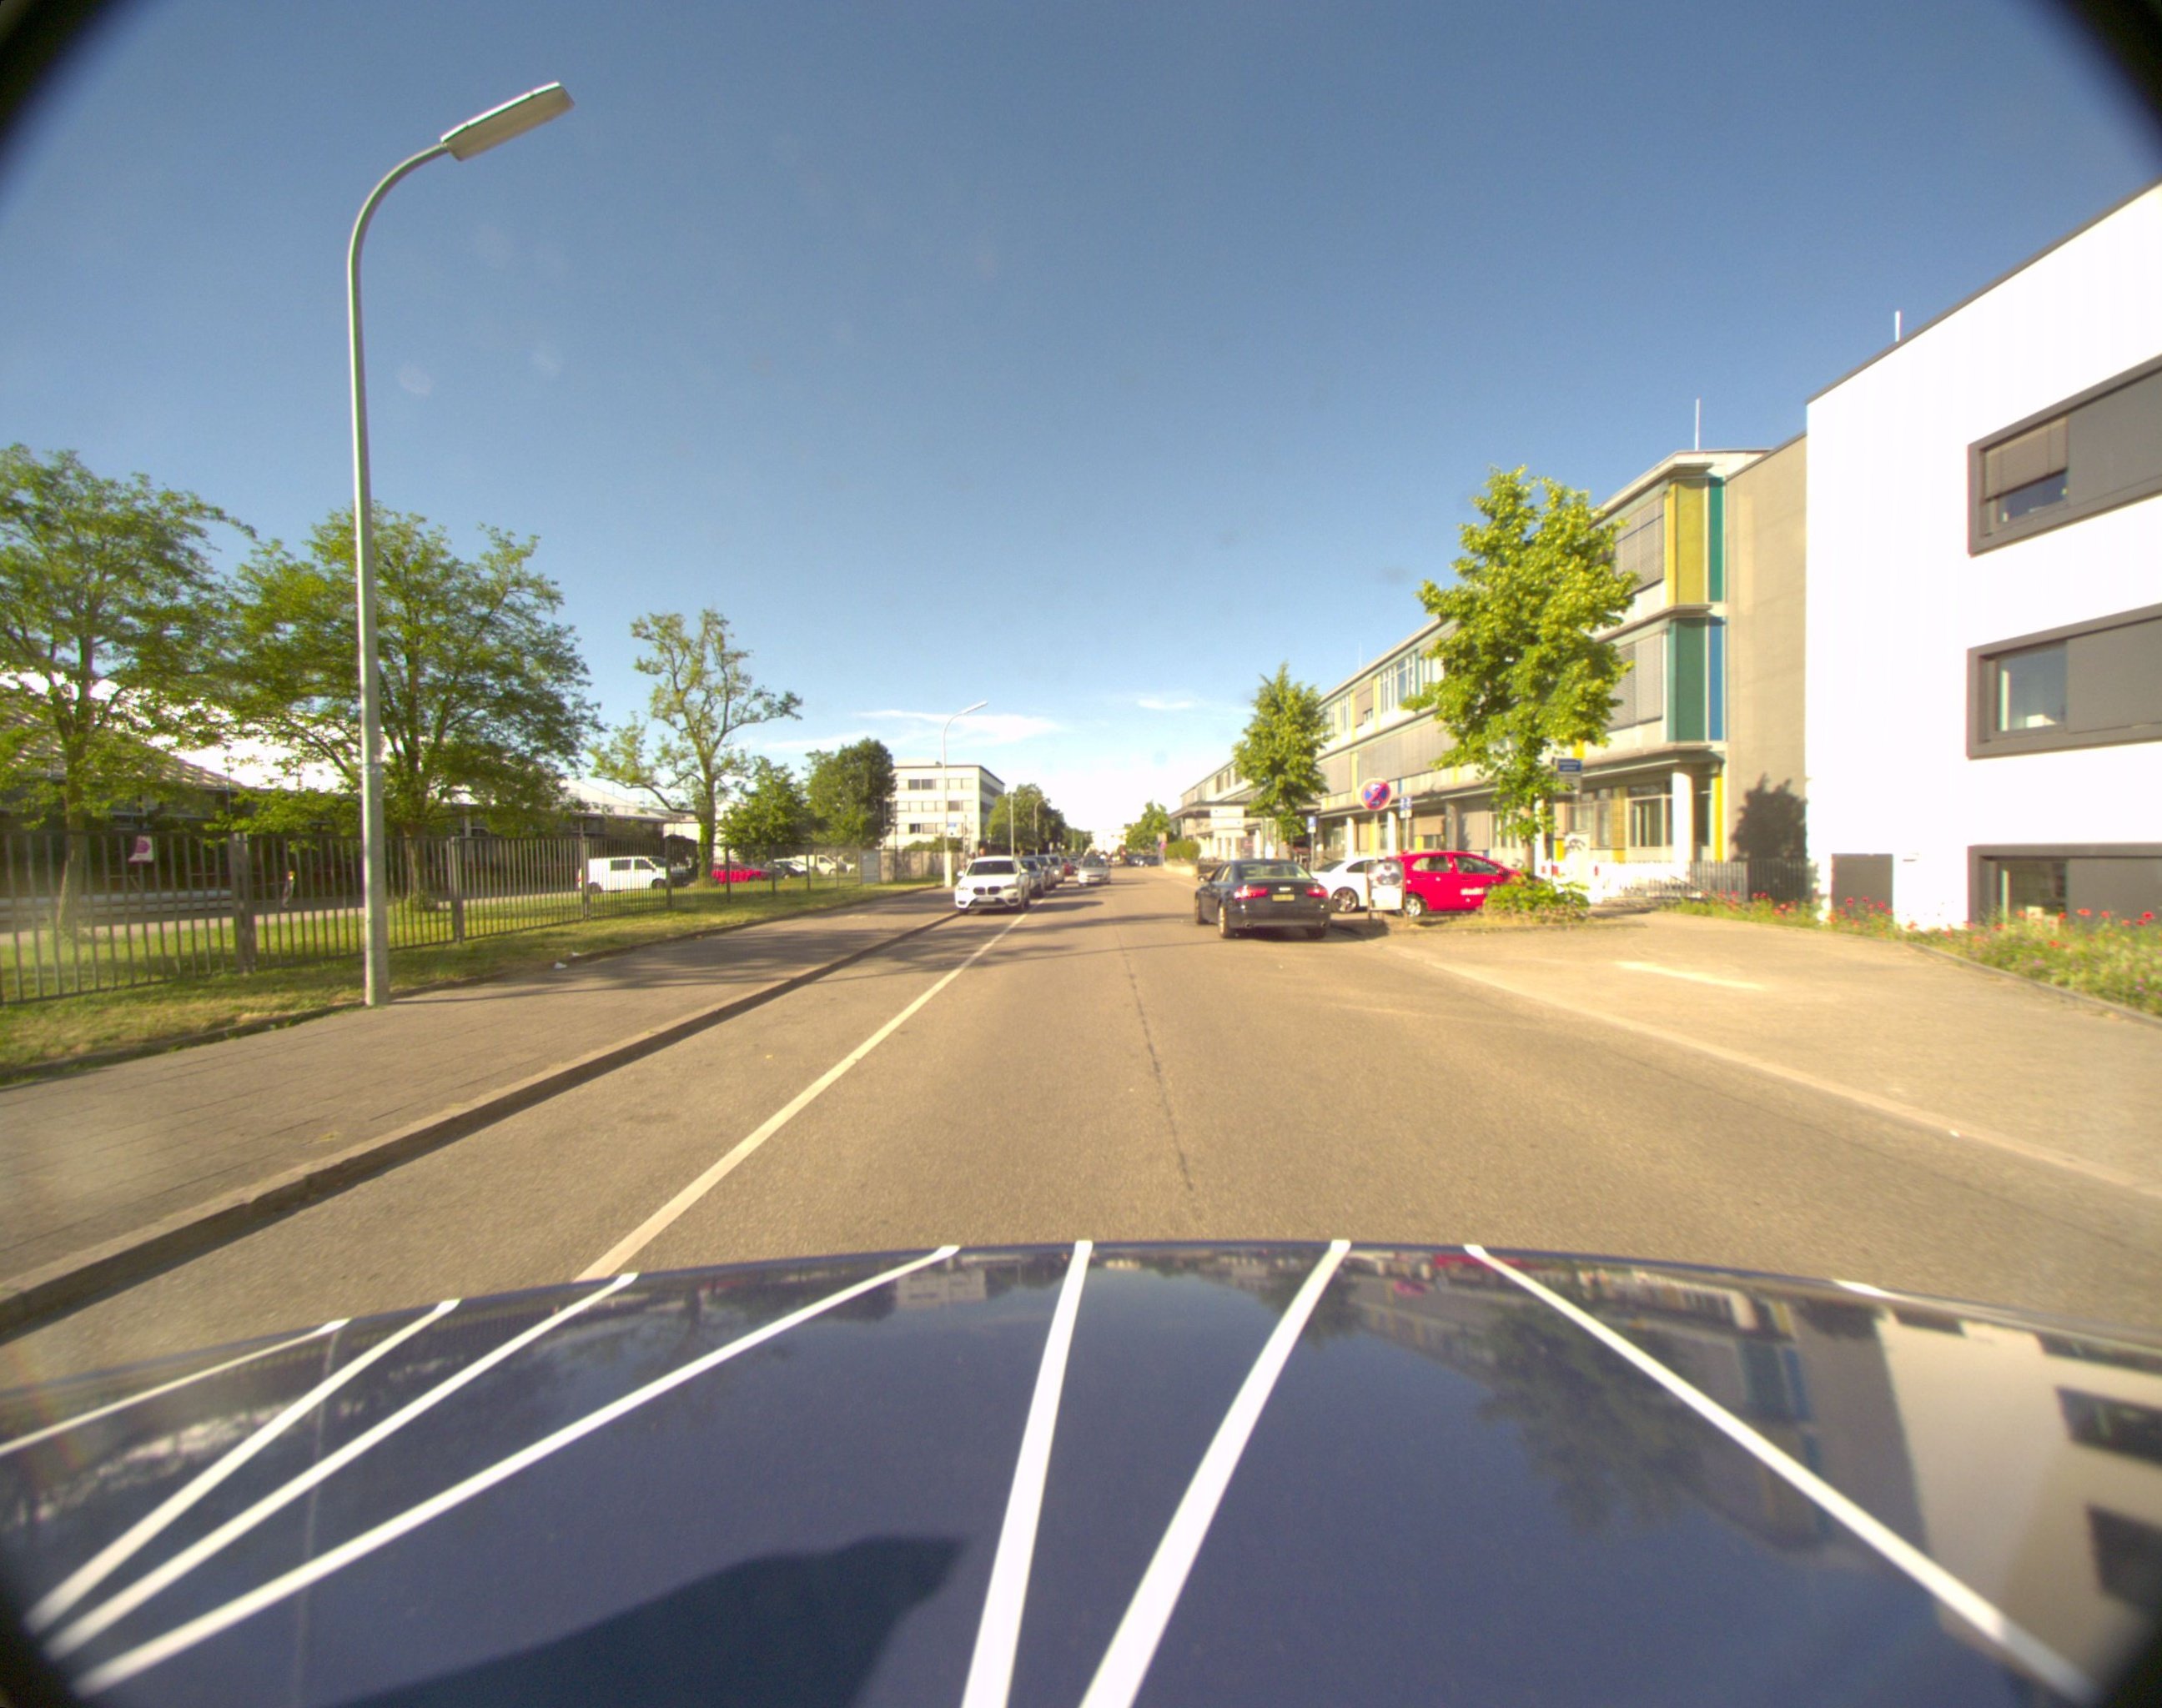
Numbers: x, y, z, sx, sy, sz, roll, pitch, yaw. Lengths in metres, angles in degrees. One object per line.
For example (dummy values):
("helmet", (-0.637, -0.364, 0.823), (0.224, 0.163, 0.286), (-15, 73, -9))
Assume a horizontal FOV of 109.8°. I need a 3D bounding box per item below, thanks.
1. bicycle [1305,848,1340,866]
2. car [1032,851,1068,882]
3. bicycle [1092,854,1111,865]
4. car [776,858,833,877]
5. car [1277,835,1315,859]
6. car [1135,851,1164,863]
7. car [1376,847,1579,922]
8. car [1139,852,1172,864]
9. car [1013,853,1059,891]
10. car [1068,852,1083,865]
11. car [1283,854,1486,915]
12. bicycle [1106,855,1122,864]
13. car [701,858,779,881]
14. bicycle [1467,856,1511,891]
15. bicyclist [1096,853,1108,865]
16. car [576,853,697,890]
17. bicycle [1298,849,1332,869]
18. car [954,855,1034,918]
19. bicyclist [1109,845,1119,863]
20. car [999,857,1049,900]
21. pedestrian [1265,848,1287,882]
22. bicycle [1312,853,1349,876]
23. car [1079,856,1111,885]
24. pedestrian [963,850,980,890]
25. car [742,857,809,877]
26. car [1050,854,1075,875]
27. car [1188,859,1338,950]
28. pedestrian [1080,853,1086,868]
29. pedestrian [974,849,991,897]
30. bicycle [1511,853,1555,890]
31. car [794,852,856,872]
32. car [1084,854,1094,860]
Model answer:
("bicycle", (12.936, 0.170, 40.710), (1.719, 0.968, 0.536), (-1, 1, 0))
("car", (-1.775, 0.692, 45.098), (1.813, 1.712, 4.704), (-3, 0, 0))
("bicycle", (2.236, 0.635, 83.308), (1.899, 1.136, 0.668), (-1, 1, 17))
("car", (-22.097, 1.064, 60.754), (3.899, 1.371, 1.675), (-1, 0, -2))
("car", (17.763, -0.579, 63.030), (1.924, 1.880, 4.711), (-1, 0, 1))
("car", (10.190, 0.457, 113.388), (3.991, 1.480, 1.823), (-3, 1, 0))
("car", (8.711, 0.662, 16.947), (3.641, 1.460, 1.615), (-2, 0, 8))
("car", (9.592, 0.550, 98.141), (4.141, 1.458, 1.753), (-2, 0, 0))
("car", (-2.049, 0.789, 35.824), (1.705, 1.597, 4.353), (-2, 0, 2))
("car", (-0.651, 0.577, 94.771), (1.668, 1.505, 4.114), (-2, 0, 2))
("car", (7.649, 0.747, 19.482), (4.522, 1.359, 1.700), (-2, 1, 4))
("bicycle", (3.841, 0.645, 88.376), (1.884, 1.003, 0.701), (-1, 1, -2))
("car", (-22.147, 0.997, 49.490), (4.153, 1.245, 1.828), (-3, 1, -1))
("bicycle", (13.637, 0.628, 25.454), (0.536, 1.105, 1.861), (-1, 0, 2))
("bicyclist", (2.350, 0.570, 83.374), (1.098, 1.261, 0.863), (-1, 1, 16))
("car", (-23.070, 0.890, 39.596), (4.979, 1.635, 2.095), (-3, 1, -1))
("bicycle", (13.006, 0.271, 42.206), (1.719, 1.049, 0.536), (-1, 1, 0))
("car", (-2.440, 0.858, 22.337), (1.817, 1.579, 4.261), (-3, 0, 0))
("bicyclist", (3.816, 0.023, 88.386), (1.052, 2.002, 0.959), (-1, 1, -2))
("car", (-2.200, 0.916, 30.069), (1.705, 1.479, 3.980), (-3, 0, -1))
("pedestrian", (9.201, 0.508, 35.900), (0.774, 1.540, 0.780), (-3, 1, 2))
("bicycle", (12.590, 0.523, 38.359), (1.706, 1.115, 0.536), (-1, 1, 7))
("car", (0.712, 0.829, 40.121), (1.551, 1.389, 3.454), (-2, 1, 0))
("pedestrian", (-4.546, 0.651, 31.654), (0.540, 1.602, 0.683), (-3, 1, 0))
("car", (-22.677, 0.930, 56.528), (4.153, 1.245, 1.878), (-3, 1, -1))
("car", (-1.470, 0.814, 61.476), (1.813, 1.501, 4.722), (-3, 0, 0))
("car", (3.333, 0.845, 14.822), (1.766, 1.433, 4.536), (-1, 0, -1))
("pedestrian", (0.192, 0.756, 90.273), (0.693, 1.718, 0.775), (0, 1, 1))
("pedestrian", (-3.562, 0.663, 27.549), (0.522, 1.699, 0.522), (-3, 1, -5))
("bicycle", (14.369, 0.536, 24.199), (0.421, 1.117, 1.764), (-1, 0, 2))
("car", (-22.148, 0.677, 65.887), (4.641, 1.658, 1.999), (-1, 0, -4))
("car", (1.842, 0.728, 180.052), (1.999, 1.382, 3.998), (0, 0, -3))
